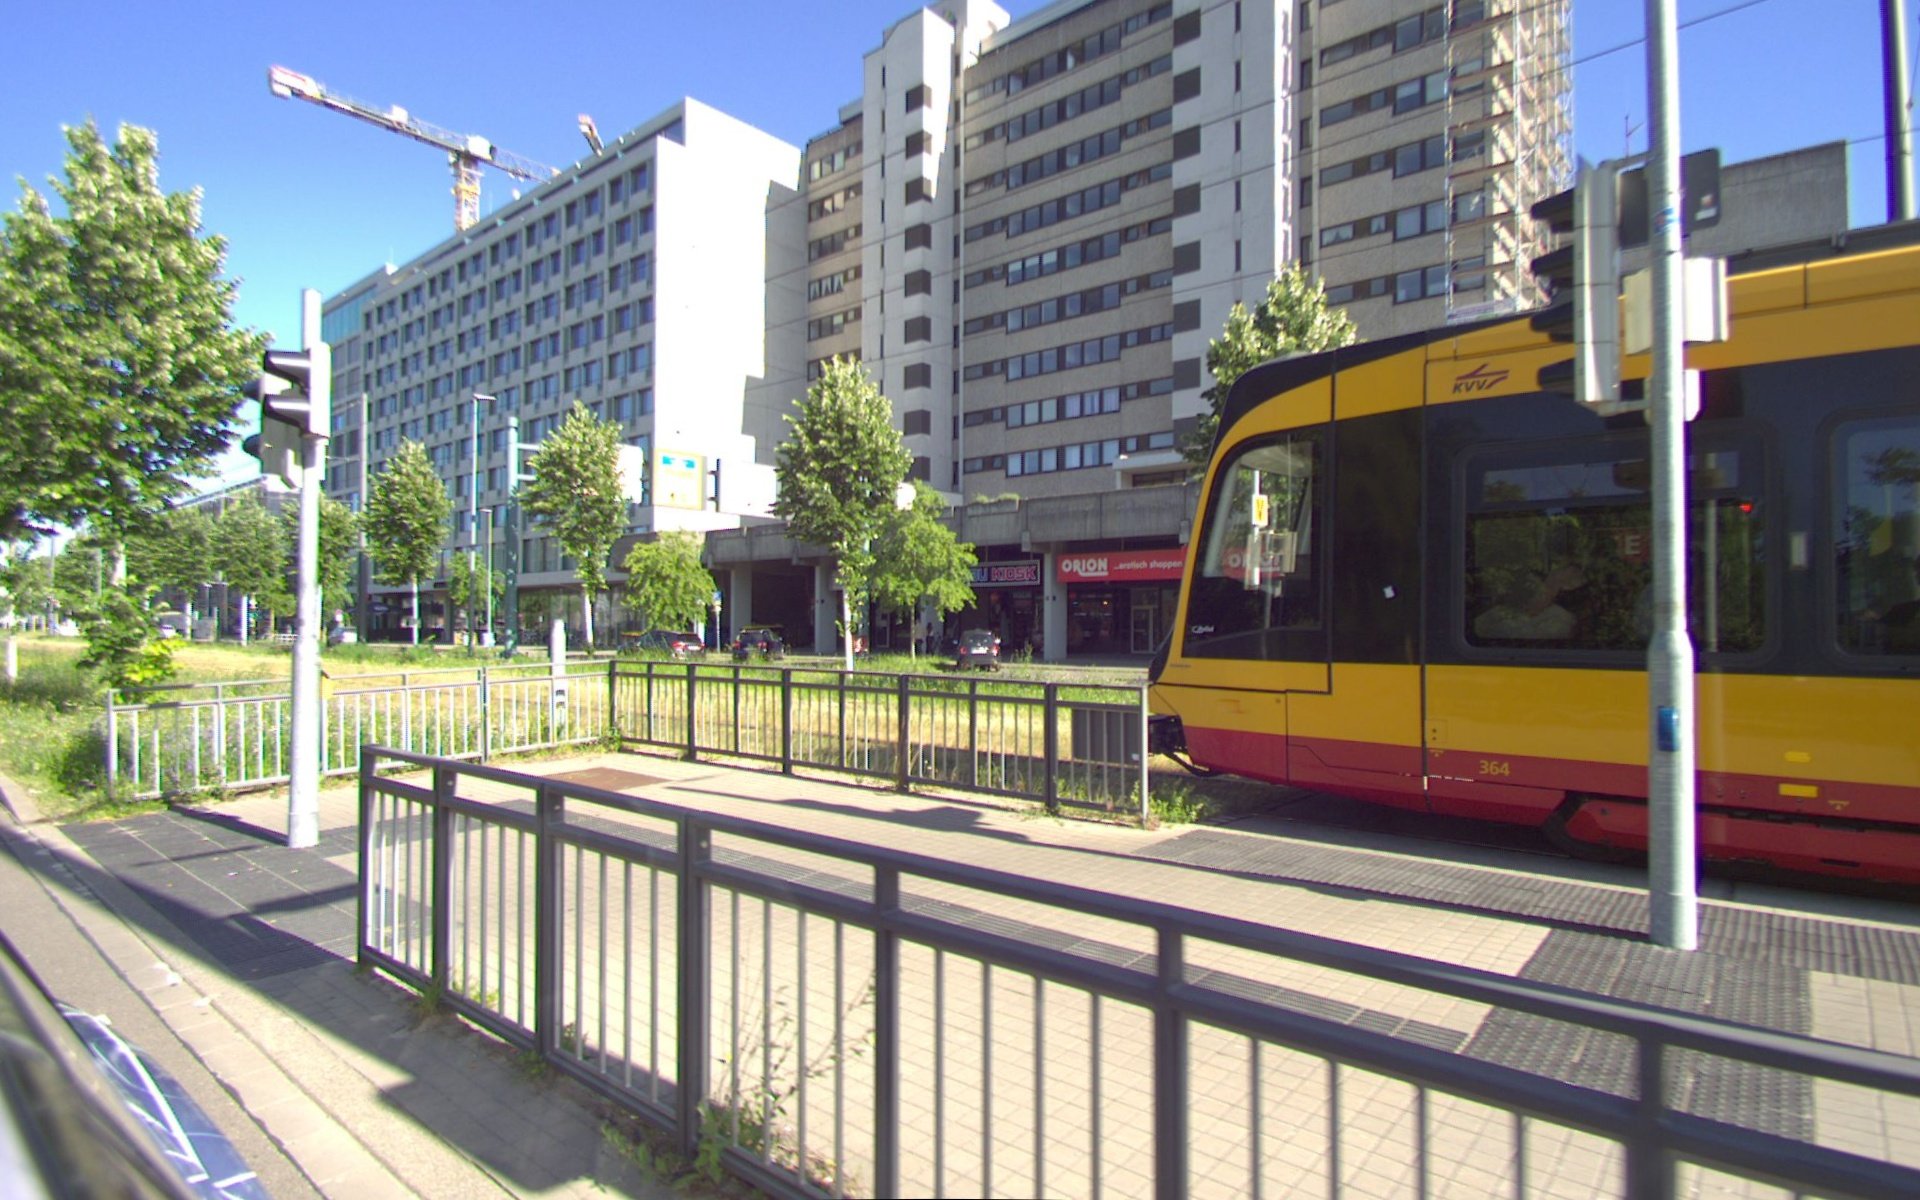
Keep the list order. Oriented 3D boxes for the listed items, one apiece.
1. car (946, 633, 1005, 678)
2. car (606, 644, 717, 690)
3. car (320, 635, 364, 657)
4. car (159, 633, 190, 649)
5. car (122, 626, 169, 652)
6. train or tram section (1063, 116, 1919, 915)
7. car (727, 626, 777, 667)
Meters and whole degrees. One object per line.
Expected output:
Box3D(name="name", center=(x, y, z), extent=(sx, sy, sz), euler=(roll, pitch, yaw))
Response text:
Box3D(name="car", center=(0.524, 2.028, 37.822), extent=(1.691, 1.531, 4.005), euler=(-1, -1, -6))
Box3D(name="car", center=(-11.619, 2.550, 39.285), extent=(4.502, 1.590, 1.974), euler=(-1, -1, 39))
Box3D(name="car", center=(-47.075, 3.496, 77.054), extent=(3.770, 1.561, 1.841), euler=(-1, -1, 41))
Box3D(name="car", center=(-80.334, 4.168, 103.469), extent=(3.811, 1.519, 1.804), euler=(-1, -1, 41))
Box3D(name="car", center=(-59.077, 2.793, 73.370), extent=(4.284, 1.833, 1.972), euler=(-1, -1, 42))
Box3D(name="train or tram section", center=(6.853, -0.434, 3.953), extent=(14.139, 3.697, 1.973), euler=(-1, -1, 40))
Box3D(name="car", center=(-9.223, 2.019, 45.132), extent=(1.768, 1.697, 4.005), euler=(-1, -1, -6))
